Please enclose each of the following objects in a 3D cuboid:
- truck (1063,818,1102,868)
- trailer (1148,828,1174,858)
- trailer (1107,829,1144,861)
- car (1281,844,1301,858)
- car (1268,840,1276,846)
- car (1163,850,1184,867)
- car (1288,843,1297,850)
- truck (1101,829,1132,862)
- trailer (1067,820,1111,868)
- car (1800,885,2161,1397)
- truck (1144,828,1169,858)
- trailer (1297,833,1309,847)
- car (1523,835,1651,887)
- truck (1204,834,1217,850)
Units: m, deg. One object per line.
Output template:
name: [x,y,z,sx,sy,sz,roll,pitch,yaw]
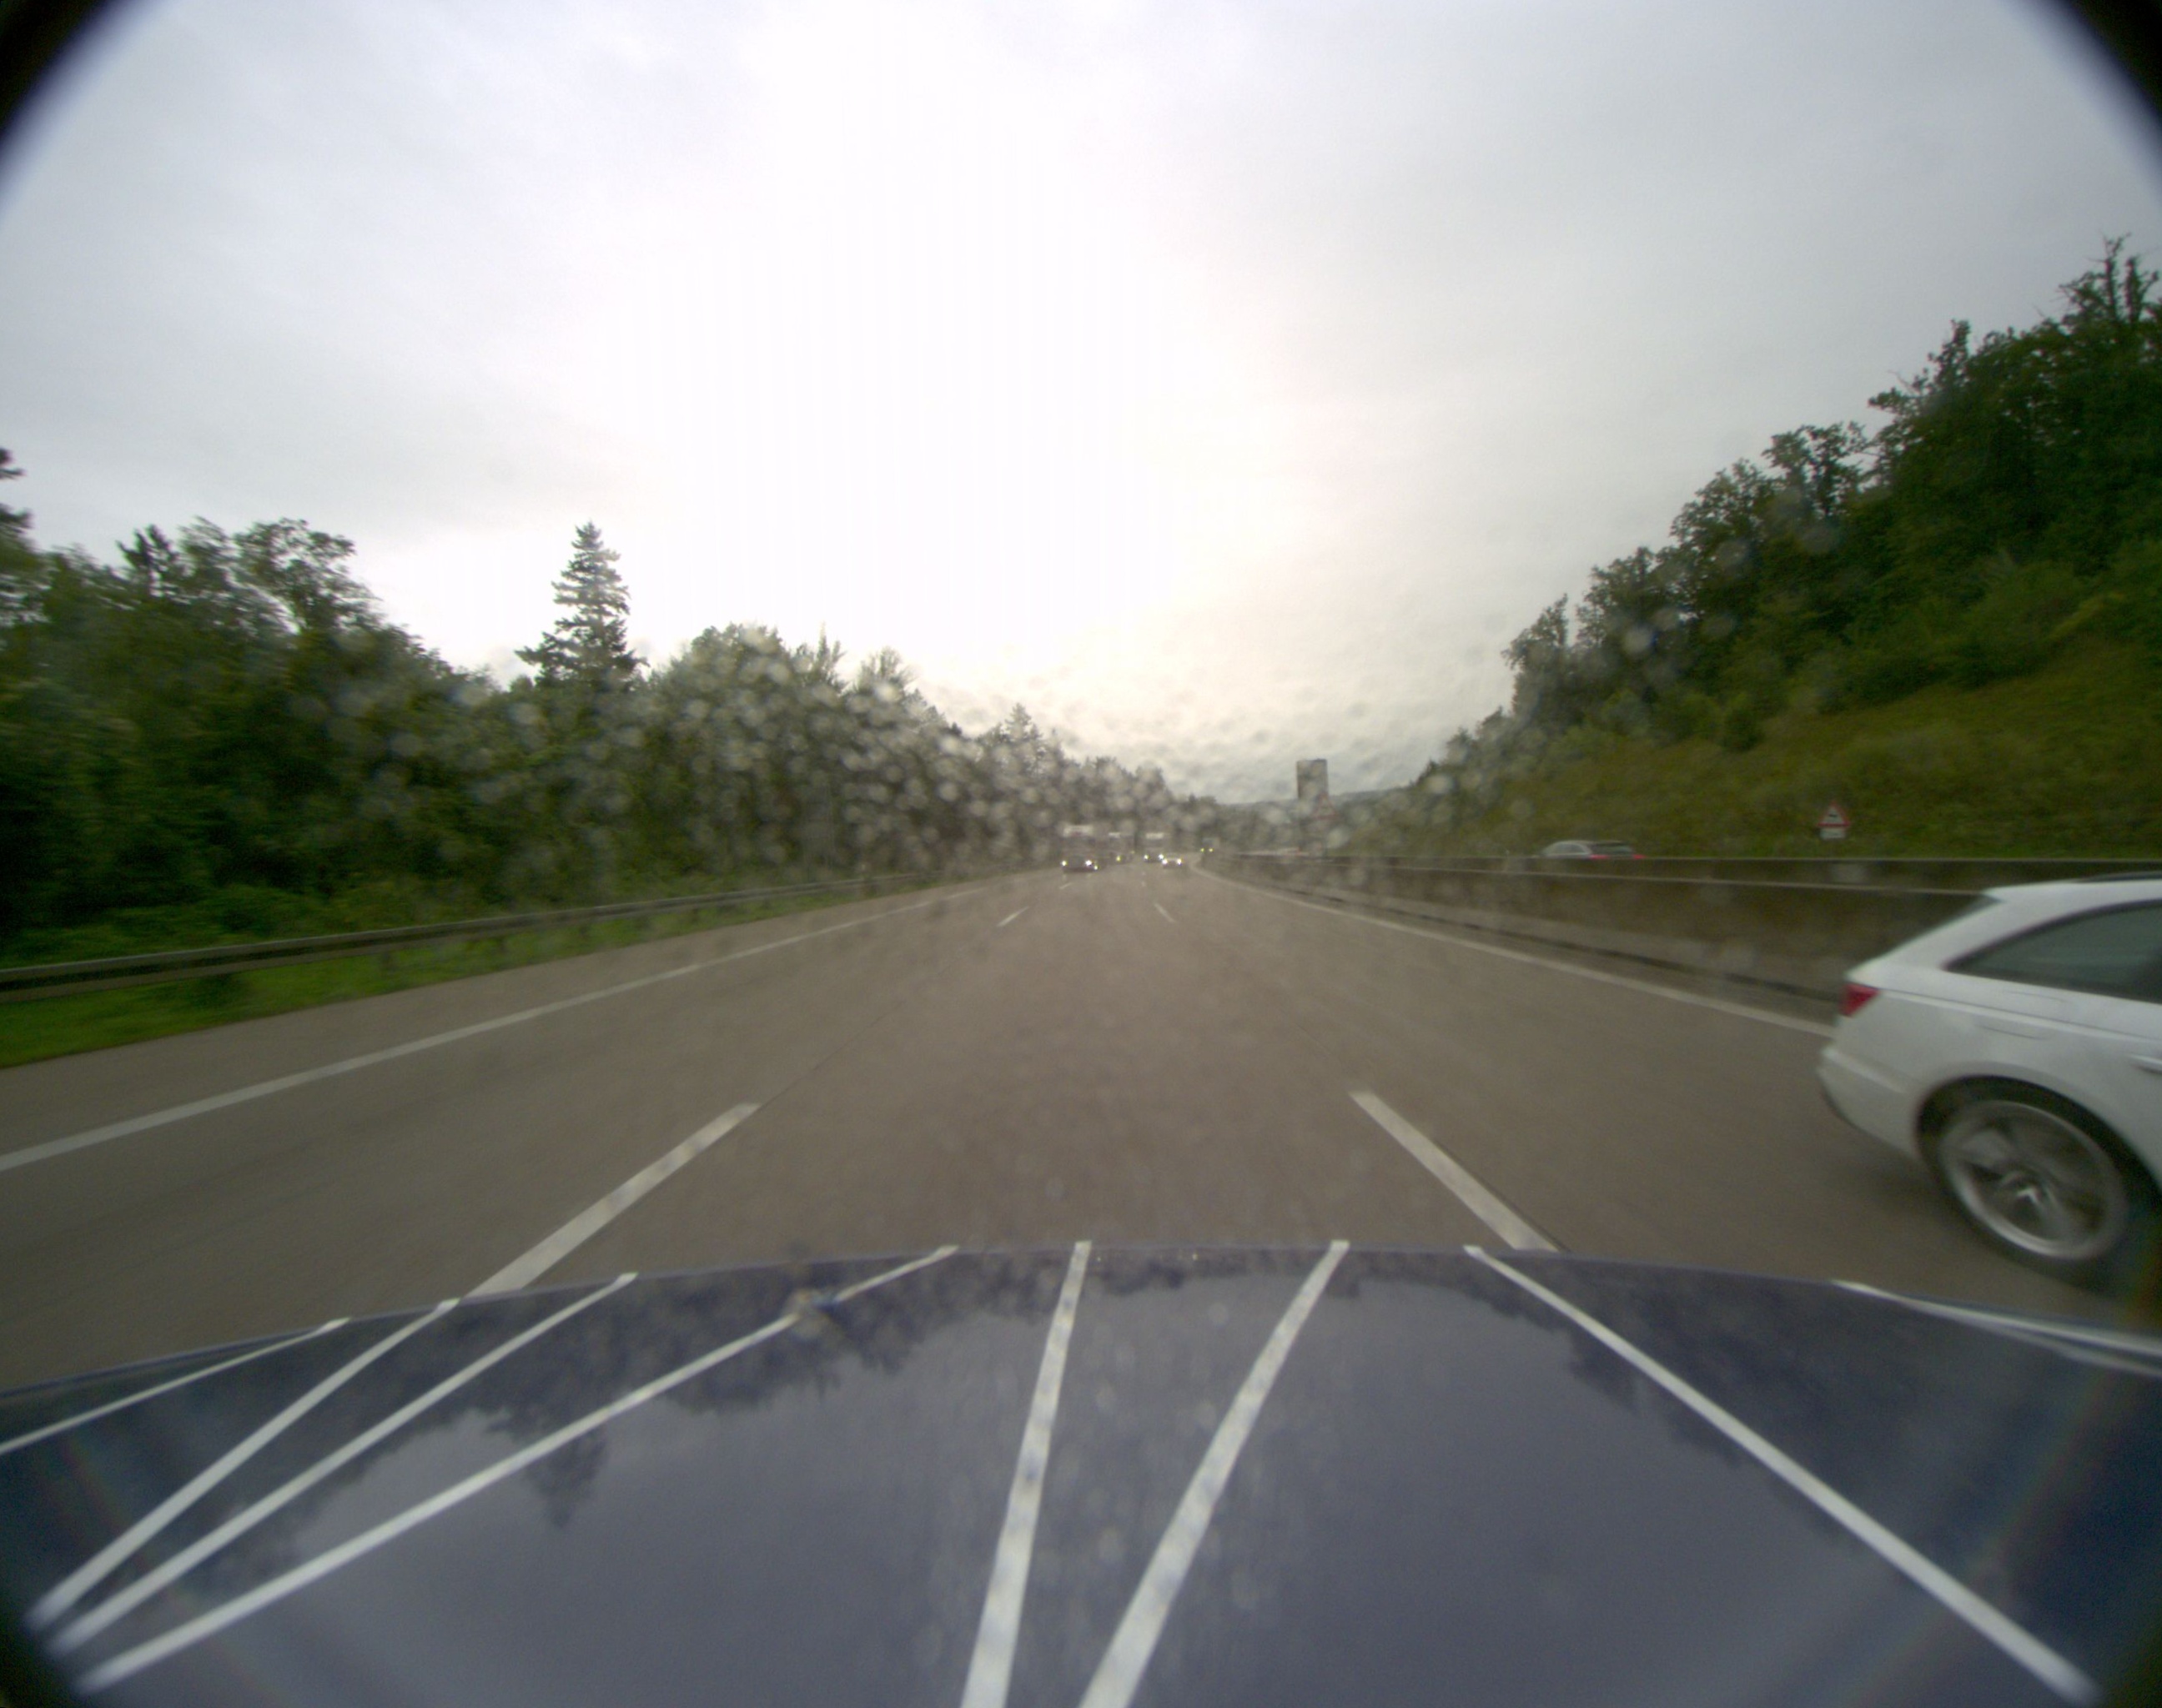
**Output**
truck: [0.224,-0.877,65.139,2.380,3.930,6.163,-4,0,7]
trailer: [11.983,-1.578,113.054,2.684,4.017,13.714,-3,0,10]
trailer: [6.340,-1.277,105.342,2.738,4.080,13.694,-1,1,14]
car: [24.402,-0.357,88.387,1.780,1.509,4.002,-1,1,8]
car: [53.266,-3.109,212.193,1.734,1.766,4.761,-1,1,10]
car: [8.685,0.439,71.001,1.849,1.474,4.451,-1,0,8]
car: [51.016,-1.748,183.521,1.733,1.567,4.247,-1,1,12]
truck: [4.618,-1.122,98.174,2.802,4.080,5.973,-1,1,14]
trailer: [0.879,-0.807,70.434,2.375,3.930,12.528,-3,-1,7]
car: [3.950,0.869,0.843,1.716,1.399,4.935,-1,0,2]
truck: [10.609,-1.500,105.894,2.726,4.017,5.757,-3,0,11]
trailer: [62.657,-4.016,214.485,2.911,3.866,11.046,-1,1,14]
car: [17.301,0.215,26.234,1.781,1.629,4.000,-1,1,1]
truck: [34.808,-3.193,204.510,2.734,4.127,8.630,-1,0,14]
